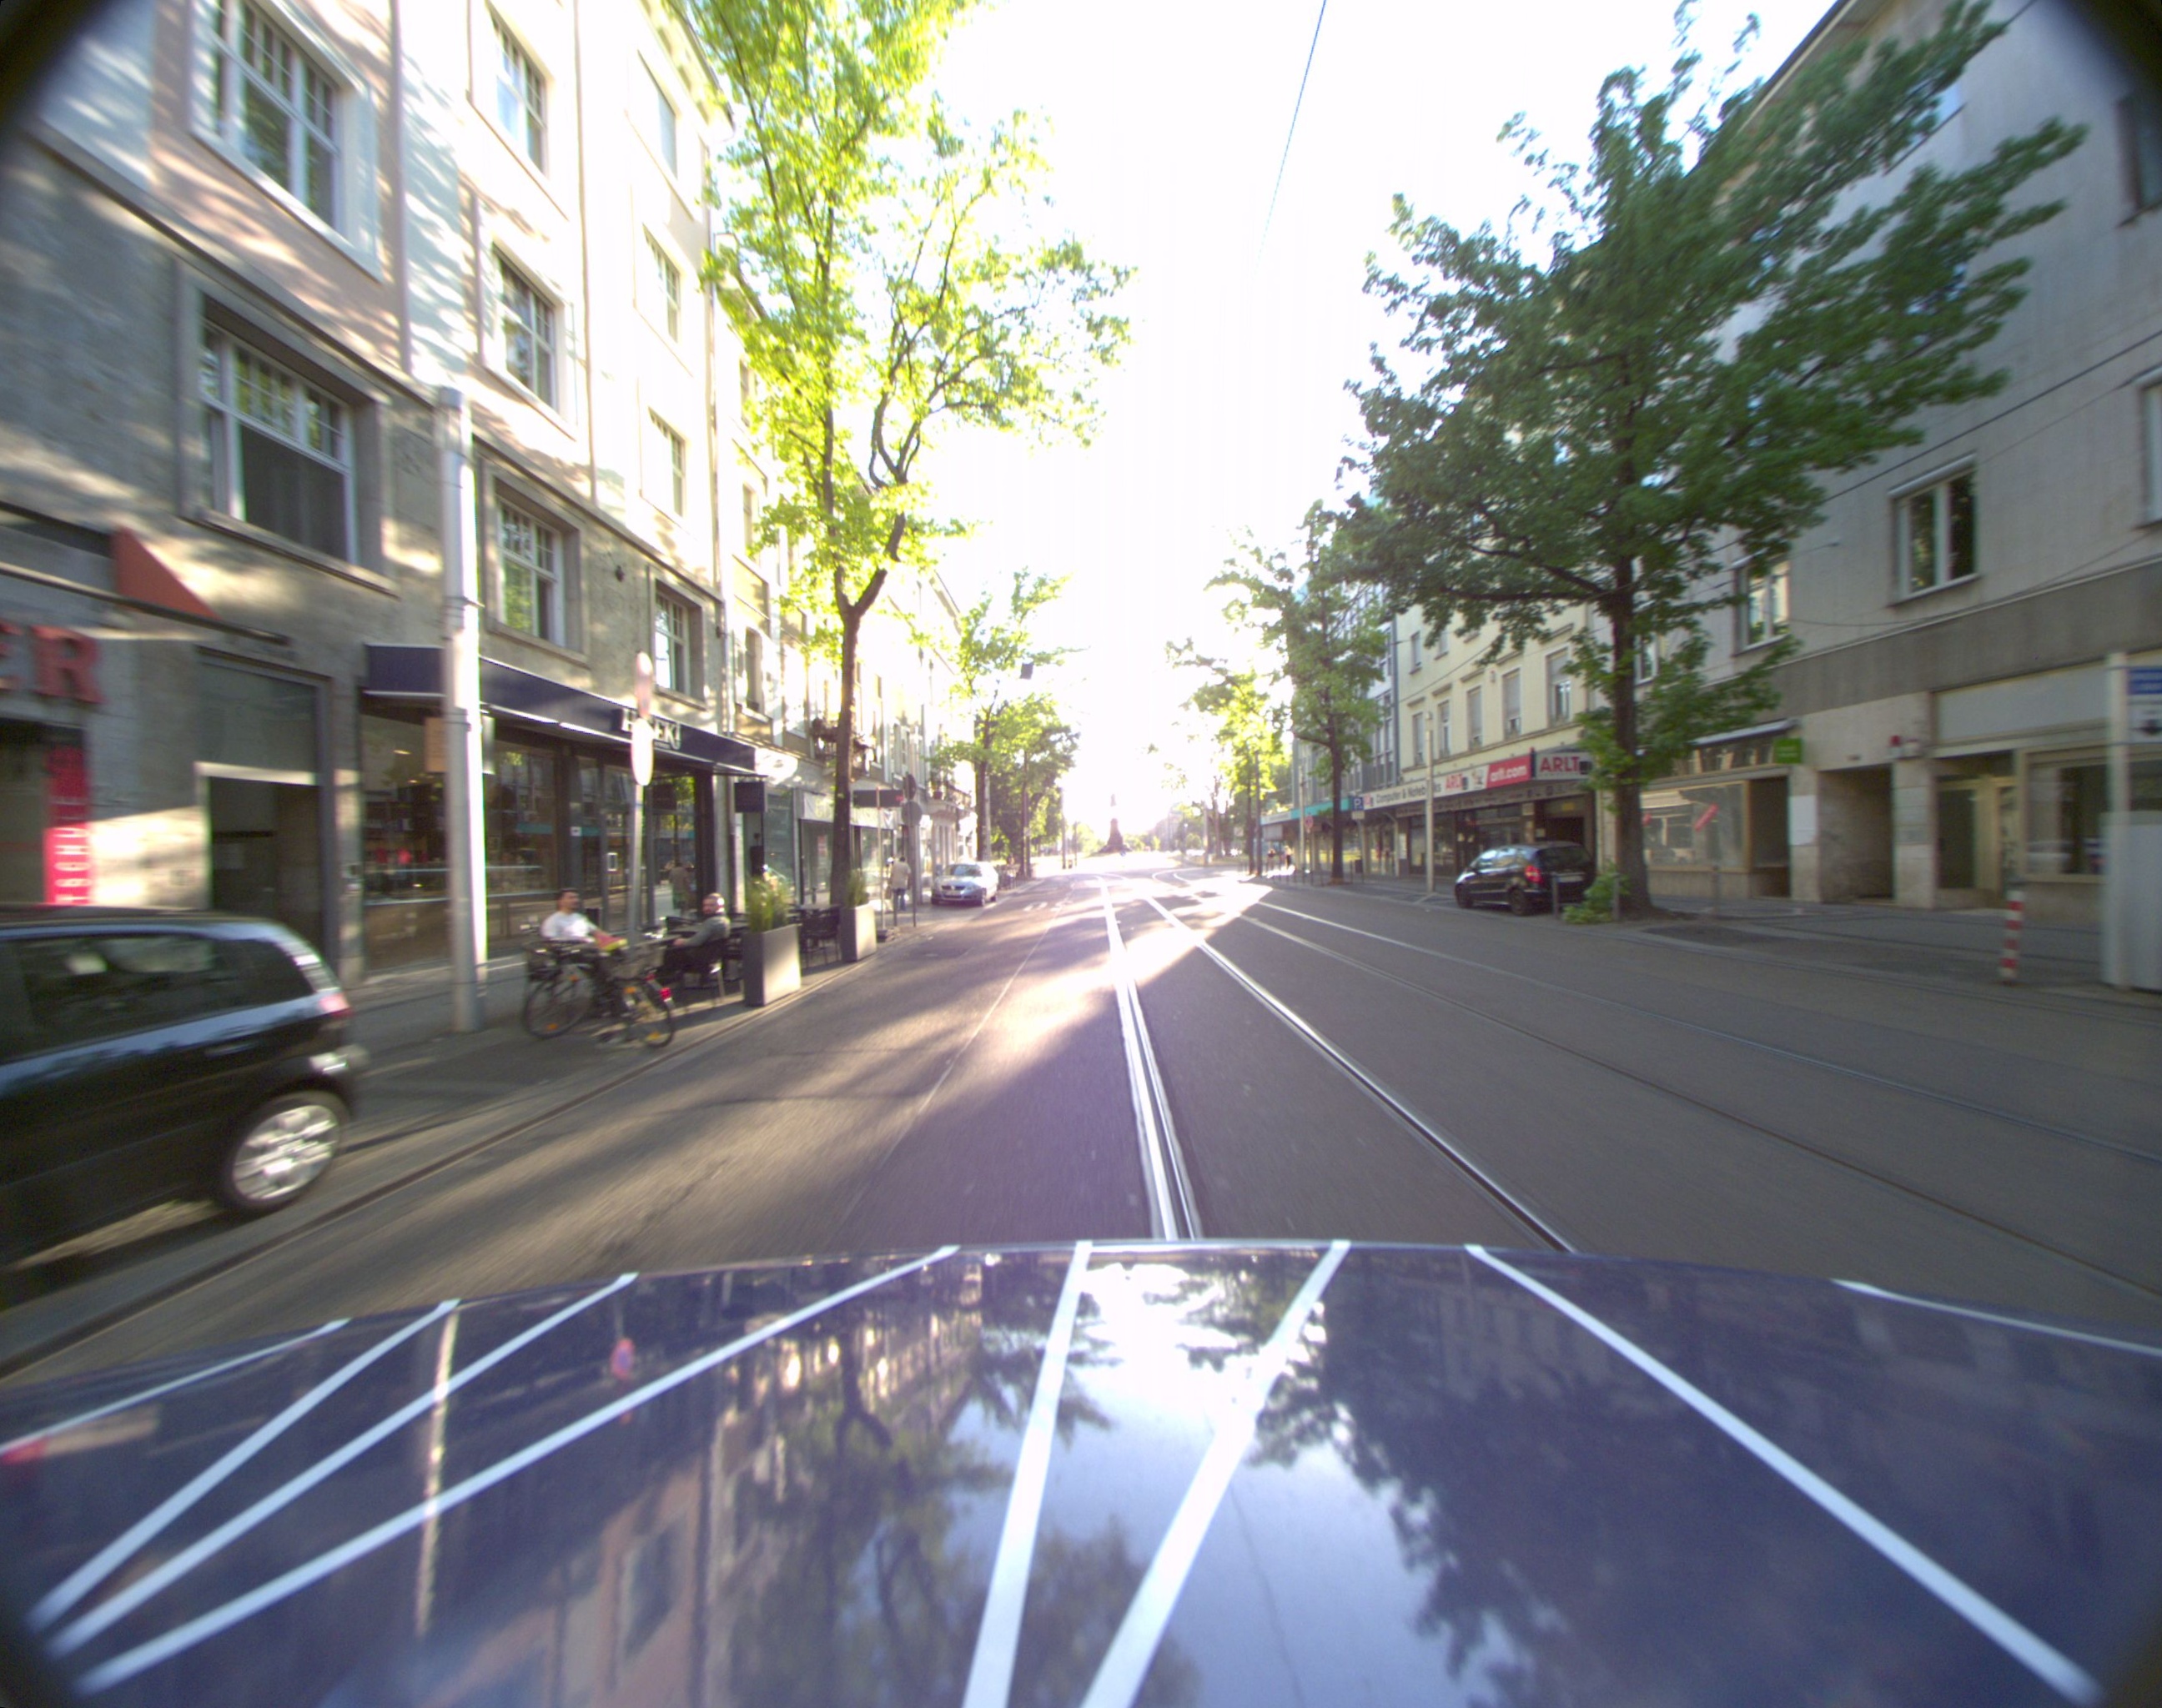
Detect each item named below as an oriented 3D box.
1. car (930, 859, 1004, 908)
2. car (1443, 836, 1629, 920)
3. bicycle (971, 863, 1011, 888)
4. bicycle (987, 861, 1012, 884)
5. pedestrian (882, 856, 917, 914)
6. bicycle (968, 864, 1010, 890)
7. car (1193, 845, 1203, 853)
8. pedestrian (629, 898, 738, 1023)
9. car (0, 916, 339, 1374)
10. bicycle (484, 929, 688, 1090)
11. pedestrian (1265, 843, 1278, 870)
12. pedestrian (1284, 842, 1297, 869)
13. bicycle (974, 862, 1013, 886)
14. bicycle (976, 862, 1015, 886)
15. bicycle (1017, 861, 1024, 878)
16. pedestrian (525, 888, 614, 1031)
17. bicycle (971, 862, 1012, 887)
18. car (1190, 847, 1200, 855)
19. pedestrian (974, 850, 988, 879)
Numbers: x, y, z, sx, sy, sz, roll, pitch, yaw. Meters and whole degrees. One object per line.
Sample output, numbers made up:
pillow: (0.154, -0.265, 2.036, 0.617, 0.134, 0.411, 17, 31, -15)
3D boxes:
car: (-3.920, 0.978, 26.750, 1.780, 1.432, 4.422, 1, 1, 2)
car: (10.531, 0.479, 17.984, 1.967, 1.630, 4.000, -4, 1, 1)
bicycle: (-4.416, 1.079, 37.428, 1.870, 1.148, 0.562, -2, 1, 3)
bicycle: (-4.246, 0.972, 39.542, 0.462, 1.148, 1.677, -3, 2, -38)
pedestrian: (-5.272, 0.892, 22.069, 0.805, 1.633, 0.756, -1, 1, 1)
bicycle: (-4.361, 1.070, 36.079, 1.870, 1.148, 0.562, -2, 1, 3)
car: (30.008, -1.391, 194.459, 1.998, 2.002, 4.000, -1, 1, 2)
pedestrian: (-4.298, 1.139, 8.259, 0.819, 1.258, 0.586, -2, 1, 7)
car: (-4.659, 1.082, 2.031, 1.805, 1.450, 3.653, 1, 1, -1)
bicycle: (-4.239, 1.270, 6.498, 1.727, 1.132, 0.547, 1, 2, 22)
pedestrian: (14.237, 0.181, 56.747, 0.798, 2.002, 0.734, -2, 2, 2)
pedestrian: (15.590, 0.103, 56.557, 0.798, 2.002, 0.734, -2, 2, 2)
bicycle: (-4.375, 0.991, 38.041, 1.870, 1.148, 0.562, -2, 1, 3)
bicycle: (-4.340, 1.016, 38.584, 1.870, 1.148, 0.348, -2, 2, 3)
bicycle: (-4.003, 1.030, 50.584, 0.355, 1.070, 1.698, -2, 1, -2)
pedestrian: (-5.462, 1.080, 8.108, 0.711, 1.379, 0.745, -2, 1, -36)
bicycle: (-4.325, 0.986, 36.692, 1.870, 1.148, 0.562, -2, 1, 3)
car: (30.713, -0.723, 204.659, 1.999, 2.002, 4.547, -3, 1, -1)
pedestrian: (-6.953, 0.728, 52.728, 0.846, 2.002, 0.843, -2, 2, -8)
